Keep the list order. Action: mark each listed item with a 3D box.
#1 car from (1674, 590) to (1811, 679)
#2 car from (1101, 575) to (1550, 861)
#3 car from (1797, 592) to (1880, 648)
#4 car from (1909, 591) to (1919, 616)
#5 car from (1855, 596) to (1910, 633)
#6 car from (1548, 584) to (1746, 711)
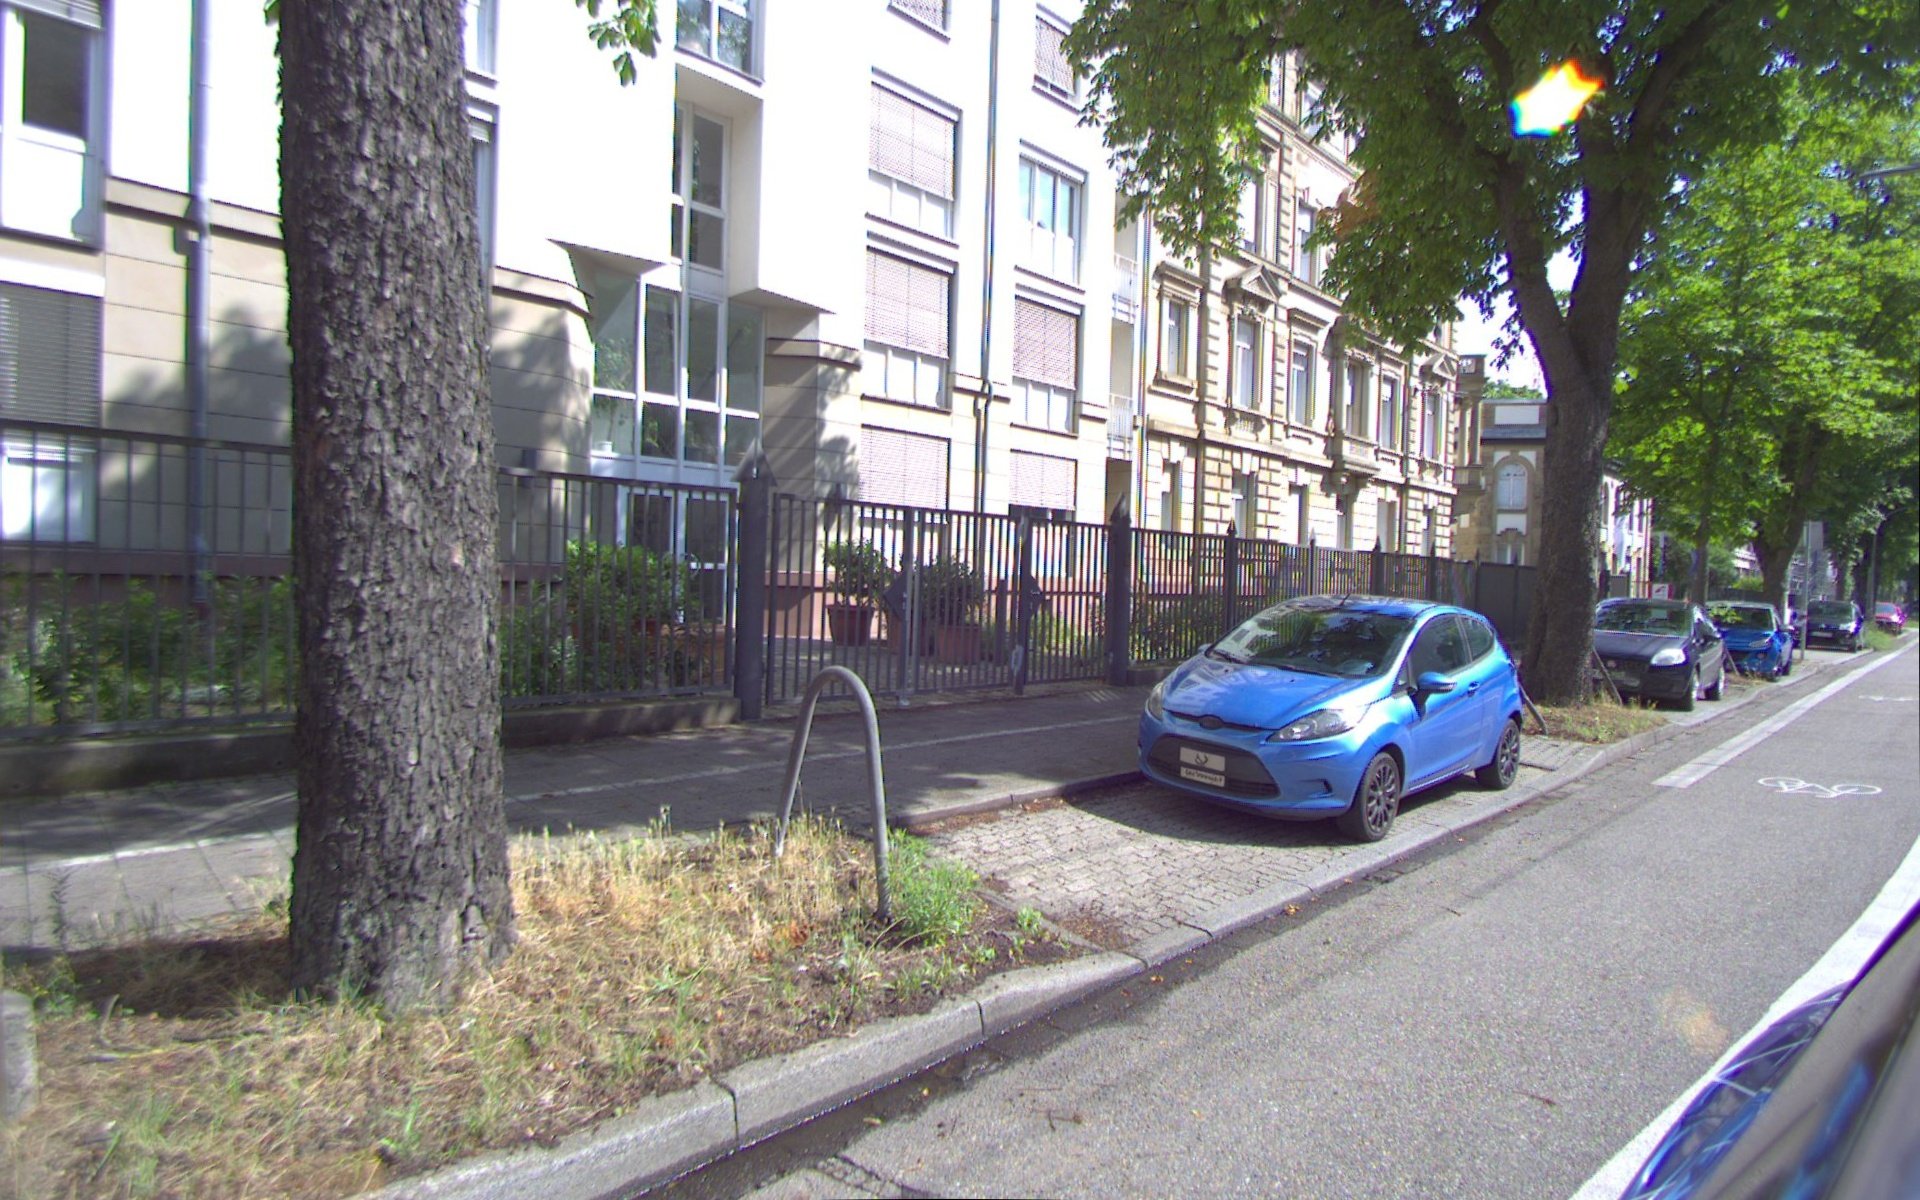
[{"bbox_3d":[15.790,0.622,20.357,1.676,1.493,3.602,6,5,44],"label":"car"},{"bbox_3d":[2.850,0.648,7.497,3.600,1.493,1.645,0,5,-44],"label":"car"},{"bbox_3d":[28.844,0.614,33.181,1.741,1.592,3.602,6,5,44],"label":"car"},{"bbox_3d":[62.781,0.273,65.519,1.741,1.592,3.867,6,5,44],"label":"car"},{"bbox_3d":[44.841,0.673,49.184,1.741,1.592,3.867,6,5,44],"label":"car"},{"bbox_3d":[10.026,0.594,14.679,1.676,1.493,3.602,6,5,44],"label":"car"}]
